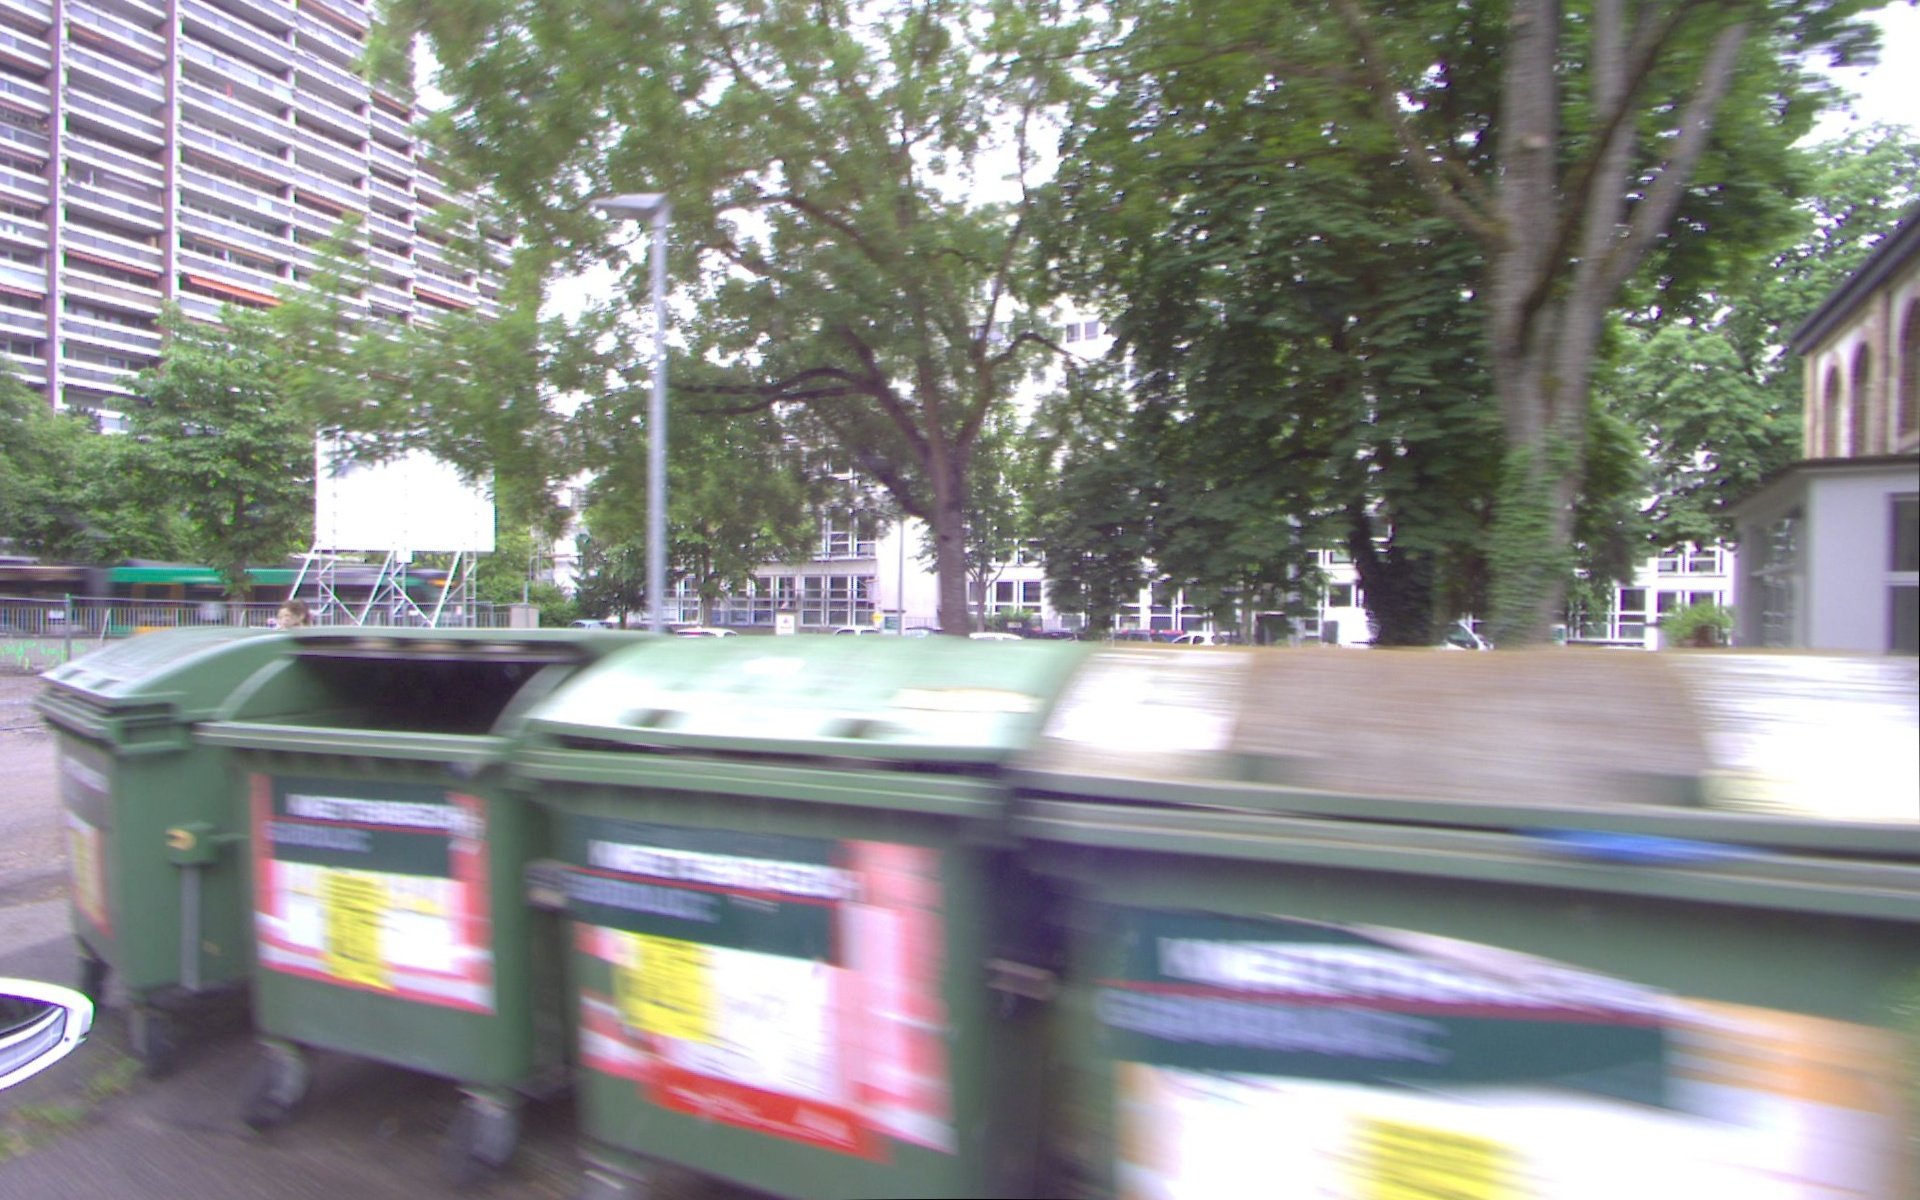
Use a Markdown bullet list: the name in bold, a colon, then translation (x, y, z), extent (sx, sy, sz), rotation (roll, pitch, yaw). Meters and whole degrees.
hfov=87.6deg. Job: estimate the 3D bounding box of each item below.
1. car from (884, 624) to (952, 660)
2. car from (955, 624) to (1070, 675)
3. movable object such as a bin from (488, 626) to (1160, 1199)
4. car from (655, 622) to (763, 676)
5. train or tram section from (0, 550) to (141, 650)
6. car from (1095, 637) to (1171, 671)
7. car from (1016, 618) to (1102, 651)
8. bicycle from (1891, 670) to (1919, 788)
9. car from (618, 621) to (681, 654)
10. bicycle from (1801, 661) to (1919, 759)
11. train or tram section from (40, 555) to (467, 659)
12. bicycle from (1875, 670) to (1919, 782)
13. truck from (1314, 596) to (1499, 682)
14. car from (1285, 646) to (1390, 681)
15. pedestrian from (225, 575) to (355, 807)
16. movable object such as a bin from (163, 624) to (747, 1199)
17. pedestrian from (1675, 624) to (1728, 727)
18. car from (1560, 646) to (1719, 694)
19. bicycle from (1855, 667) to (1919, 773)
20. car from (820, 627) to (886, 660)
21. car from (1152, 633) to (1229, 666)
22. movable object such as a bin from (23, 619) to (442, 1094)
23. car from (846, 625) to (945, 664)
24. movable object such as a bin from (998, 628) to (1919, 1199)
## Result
- **car**: translation (-2.014, 1.991, 47.759), extent (1.539, 1.639, 3.380), rotation (1, -2, -39)
- **car**: translation (1.655, 1.556, 31.786), extent (3.523, 1.520, 1.666), rotation (1, -1, 2)
- **movable object such as a bin**: translation (-0.259, 0.814, 2.518), extent (1.273, 1.469, 1.106), rotation (1, -1, 24)
- **car**: translation (-7.277, 1.476, 29.454), extent (1.747, 1.450, 3.982), rotation (0, -4, 7)
- **train or tram section**: translation (-38.366, -0.015, 38.229), extent (12.214, 3.661, 2.669), rotation (0, -1, 2)
- **car**: translation (8.058, 2.508, 46.831), extent (1.402, 1.492, 3.359), rotation (1, -2, -42)
- **car**: translation (4.663, 1.634, 47.423), extent (3.914, 1.492, 1.658), rotation (-1, -2, 45)
- **bicycle**: translation (10.129, 1.278, 9.583), extent (1.719, 1.129, 0.458), rotation (0, -1, 32)
- **car**: translation (-14.764, 1.763, 47.482), extent (1.602, 1.530, 3.306), rotation (1, -2, -42)
- **bicycle**: translation (11.507, 1.346, 12.315), extent (1.719, 1.129, 0.458), rotation (0, -1, 32)
- **train or tram section**: translation (-26.479, 0.288, 37.878), extent (14.482, 3.661, 2.669), rotation (0, -1, 2)
- **bicycle**: translation (10.530, 1.315, 10.197), extent (1.719, 1.129, 0.458), rotation (0, -1, 32)
- **truck**: translation (13.884, 1.200, 31.377), extent (4.832, 2.579, 2.170), rotation (0, -1, 2)
- **car**: translation (17.719, 2.968, 47.124), extent (4.451, 1.491, 1.405), rotation (-1, -5, 44)
- **pedestrian**: translation (-5.482, 0.717, 8.235), extent (0.739, 1.805, 0.661), rotation (1, 0, -21)
- **movable object such as a bin**: translation (-1.546, 0.827, 3.211), extent (1.265, 1.469, 1.106), rotation (1, -1, 24)
- **pedestrian**: translation (11.884, 1.189, 16.061), extent (0.595, 1.607, 0.625), rotation (1, 0, 29)
- **car**: translation (21.068, 2.165, 31.148), extent (3.737, 1.371, 1.812), rotation (1, -1, -2)
- **bicycle**: translation (11.010, 1.338, 10.976), extent (1.719, 1.129, 0.458), rotation (0, -1, 32)
- **car**: translation (-5.087, 2.035, 47.468), extent (1.539, 1.492, 3.380), rotation (1, -2, -39)
- **car**: translation (10.916, 2.321, 47.505), extent (1.402, 1.492, 3.359), rotation (1, -2, -42)
- **movable object such as a bin**: translation (-2.837, 0.808, 3.900), extent (1.261, 1.453, 1.063), rotation (0, -1, 41)
- **car**: translation (-2.628, 1.821, 41.469), extent (3.922, 1.539, 1.603), rotation (0, -1, 2)
- **movable object such as a bin**: translation (0.877, 0.799, 1.814), extent (1.304, 1.469, 1.106), rotation (1, -1, 24)
